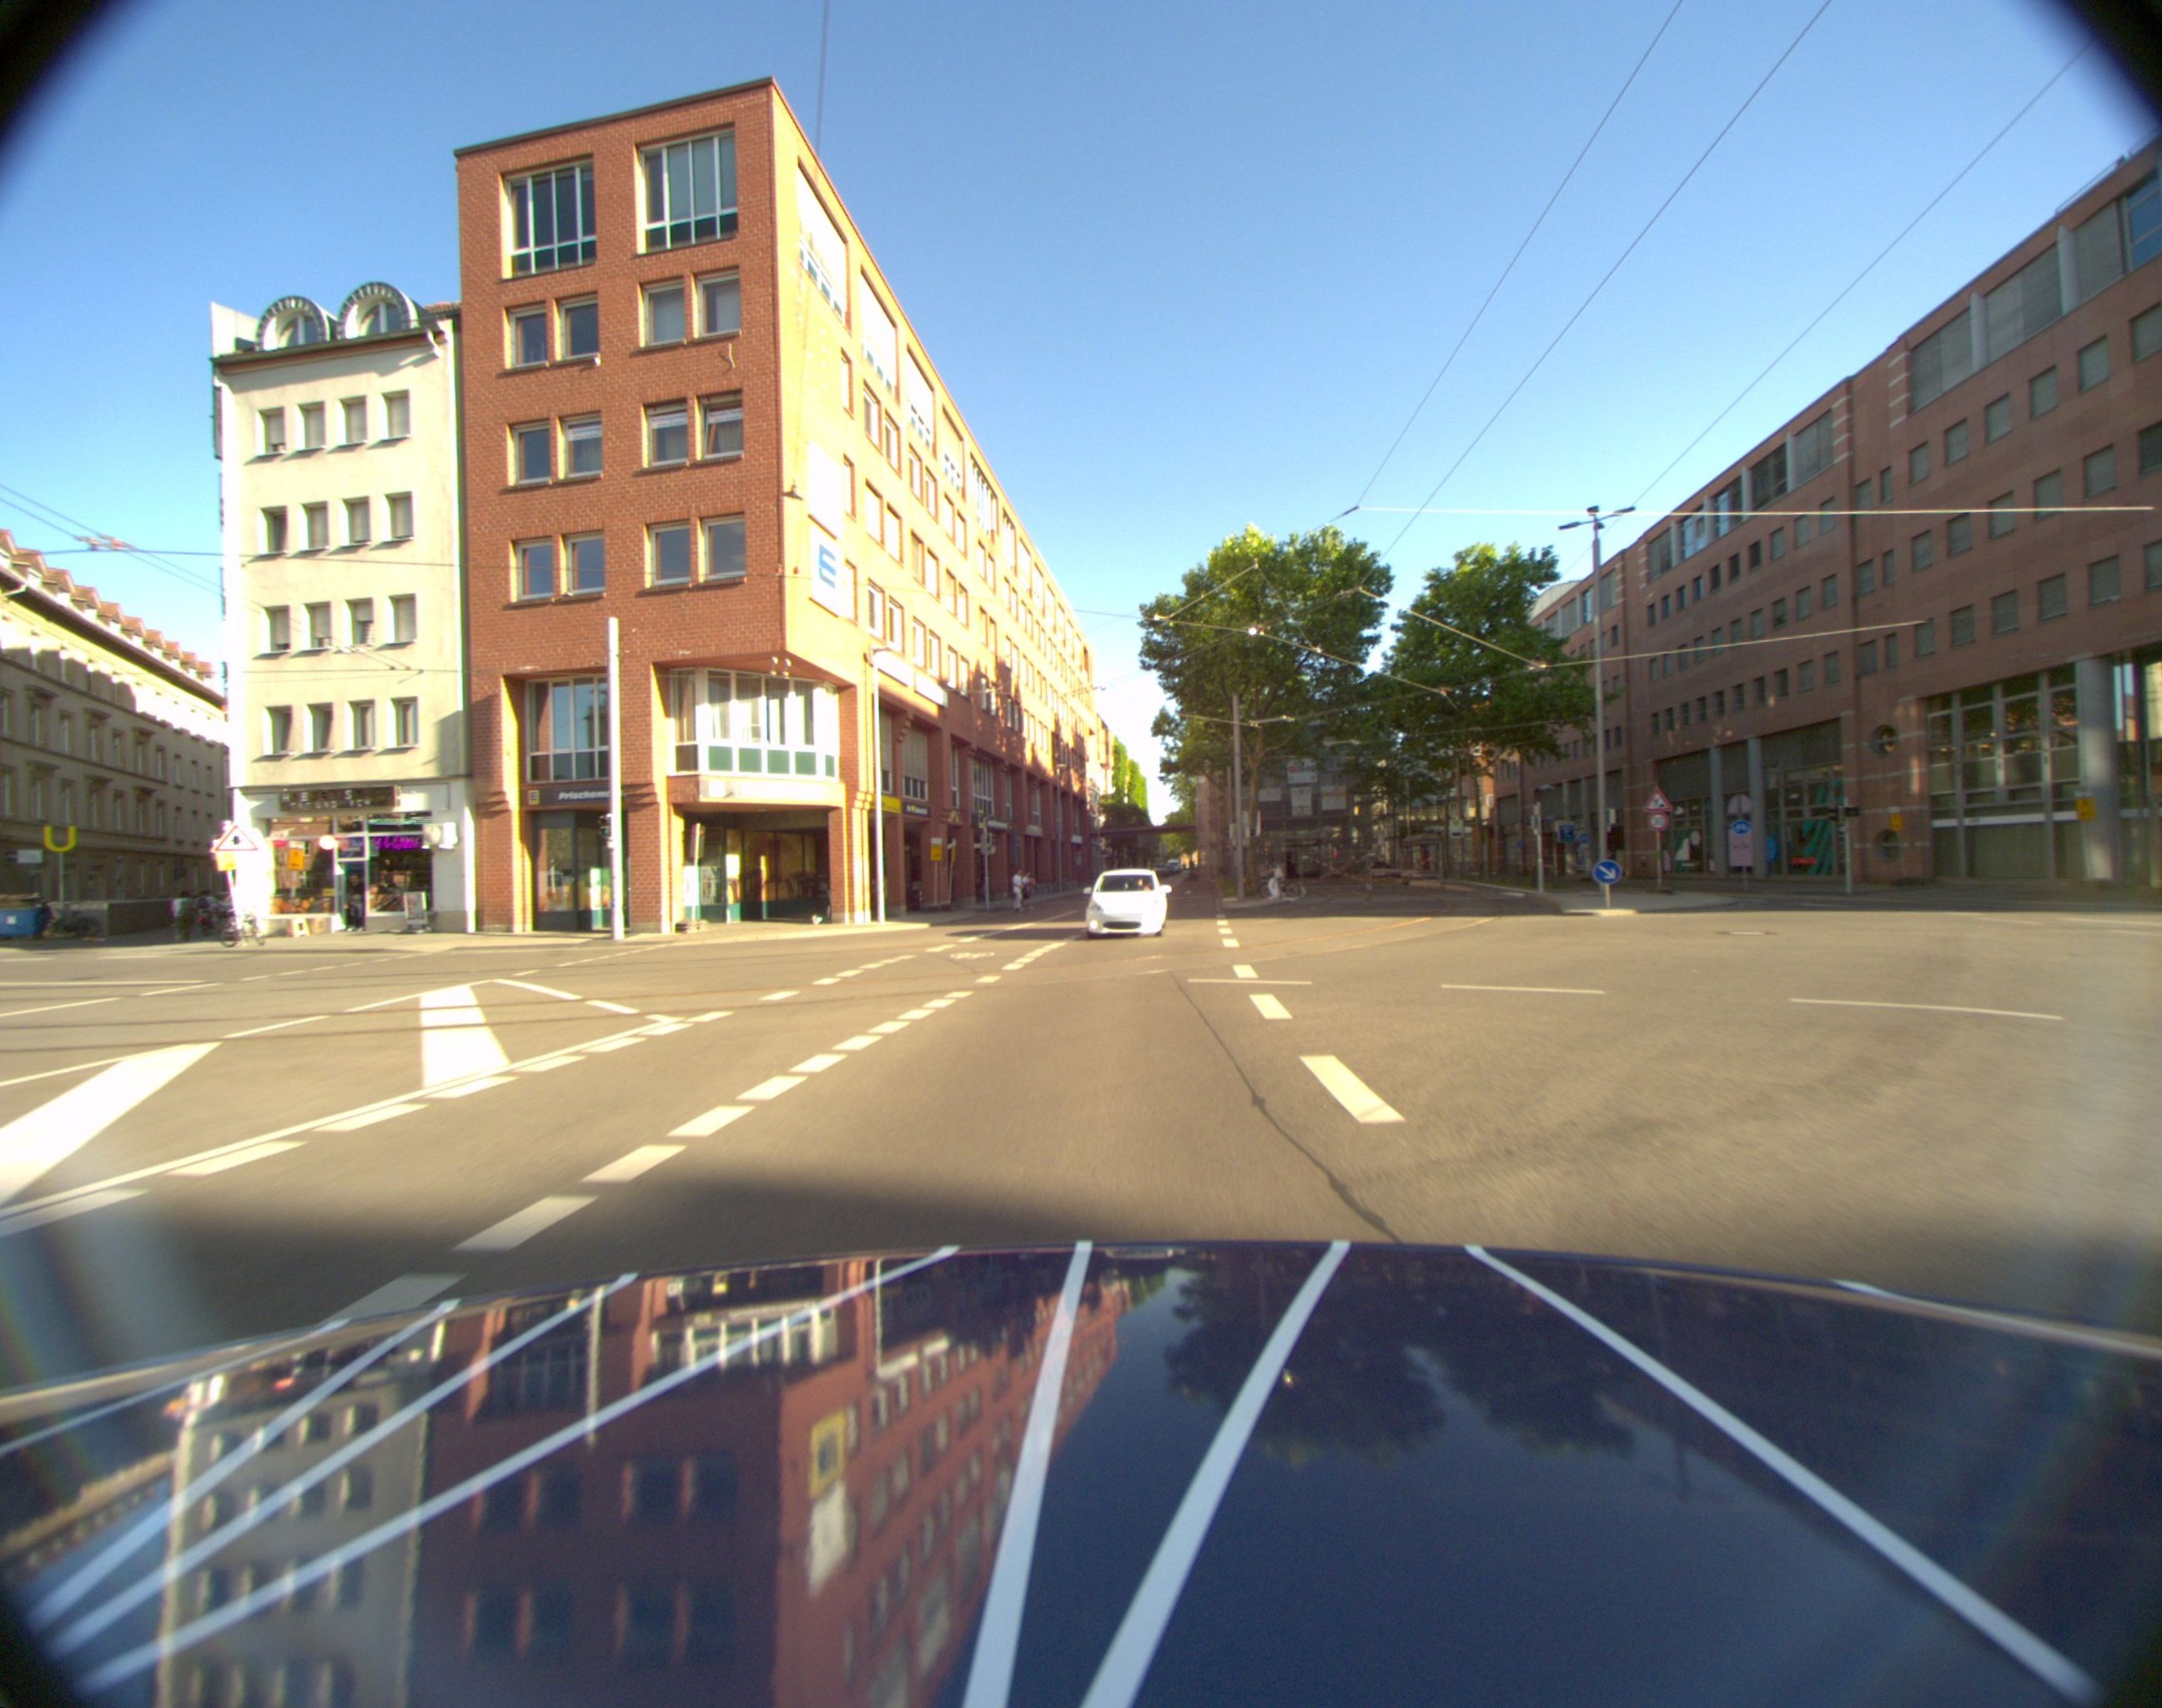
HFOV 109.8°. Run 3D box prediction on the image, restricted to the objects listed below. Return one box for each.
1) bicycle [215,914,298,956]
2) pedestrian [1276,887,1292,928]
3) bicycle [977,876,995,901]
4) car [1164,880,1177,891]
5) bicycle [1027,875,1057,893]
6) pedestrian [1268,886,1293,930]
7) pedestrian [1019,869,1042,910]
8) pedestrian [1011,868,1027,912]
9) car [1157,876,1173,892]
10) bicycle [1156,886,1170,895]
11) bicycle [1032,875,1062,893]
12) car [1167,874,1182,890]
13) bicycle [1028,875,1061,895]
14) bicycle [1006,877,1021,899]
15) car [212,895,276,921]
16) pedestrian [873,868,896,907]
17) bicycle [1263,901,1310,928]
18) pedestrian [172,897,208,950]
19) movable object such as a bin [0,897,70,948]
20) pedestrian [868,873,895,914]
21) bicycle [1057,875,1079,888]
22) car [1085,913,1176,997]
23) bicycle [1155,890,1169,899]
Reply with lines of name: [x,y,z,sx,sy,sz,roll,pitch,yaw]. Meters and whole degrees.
bicycle: [-21.259,2.084,19.589,1.863,0.985,0.460,-3,0,9]
pedestrian: [8.487,2.236,31.754,0.567,1.669,0.531,-3,-2,11]
bicycle: [-4.916,1.792,39.299,0.340,1.248,1.712,-3,-2,11]
car: [13.774,4.849,116.591,1.791,1.659,4.445,-3,-2,9]
bicycle: [-2.541,1.985,49.541,1.895,1.112,0.475,-2,-2,9]
pedestrian: [8.142,2.187,31.039,0.779,1.723,0.849,-2,-2,7]
pedestrian: [-2.164,1.519,32.595,0.631,1.714,0.634,-1,-3,-40]
pedestrian: [-2.570,1.489,31.502,0.476,1.781,0.541,-3,-2,10]
car: [11.554,4.149,104.414,1.922,2.065,5.176,-3,-2,9]
bicycle: [10.473,4.688,96.591,1.679,1.061,0.512,-4,-2,33]
bicycle: [-2.260,1.984,50.377,1.895,1.112,0.551,-2,-2,10]
car: [16.349,4.908,133.018,2.118,2.549,5.912,-3,-2,10]
bicycle: [-2.209,1.878,45.729,1.895,1.112,0.475,-2,-2,10]
bicycle: [-3.783,1.917,42.819,0.340,1.176,1.680,-3,-2,11]
car: [-52.582,3.380,47.815,1.731,1.512,3.991,-1,-2,-33]
pedestrian: [-8.449,1.435,32.696,0.601,1.651,0.798,-3,-2,10]
bicycle: [8.706,2.554,32.225,1.832,1.072,0.481,-3,-2,11]
pedestrian: [-28.187,2.181,24.043,0.959,1.628,0.694,-3,-1,41]
movable object such as a bin: [-40.188,2.618,28.968,1.652,1.772,1.399,-3,-2,-39]
pedestrian: [-8.100,1.606,30.884,0.847,1.580,0.753,-1,-2,-30]
bicycle: [-0.980,2.063,56.965,1.614,0.949,0.555,0,-2,12]
car: [1.261,2.259,17.814,1.807,1.491,4.204,-3,-2,6]
bicycle: [10.044,5.016,94.404,1.679,1.060,0.502,-5,-3,44]
